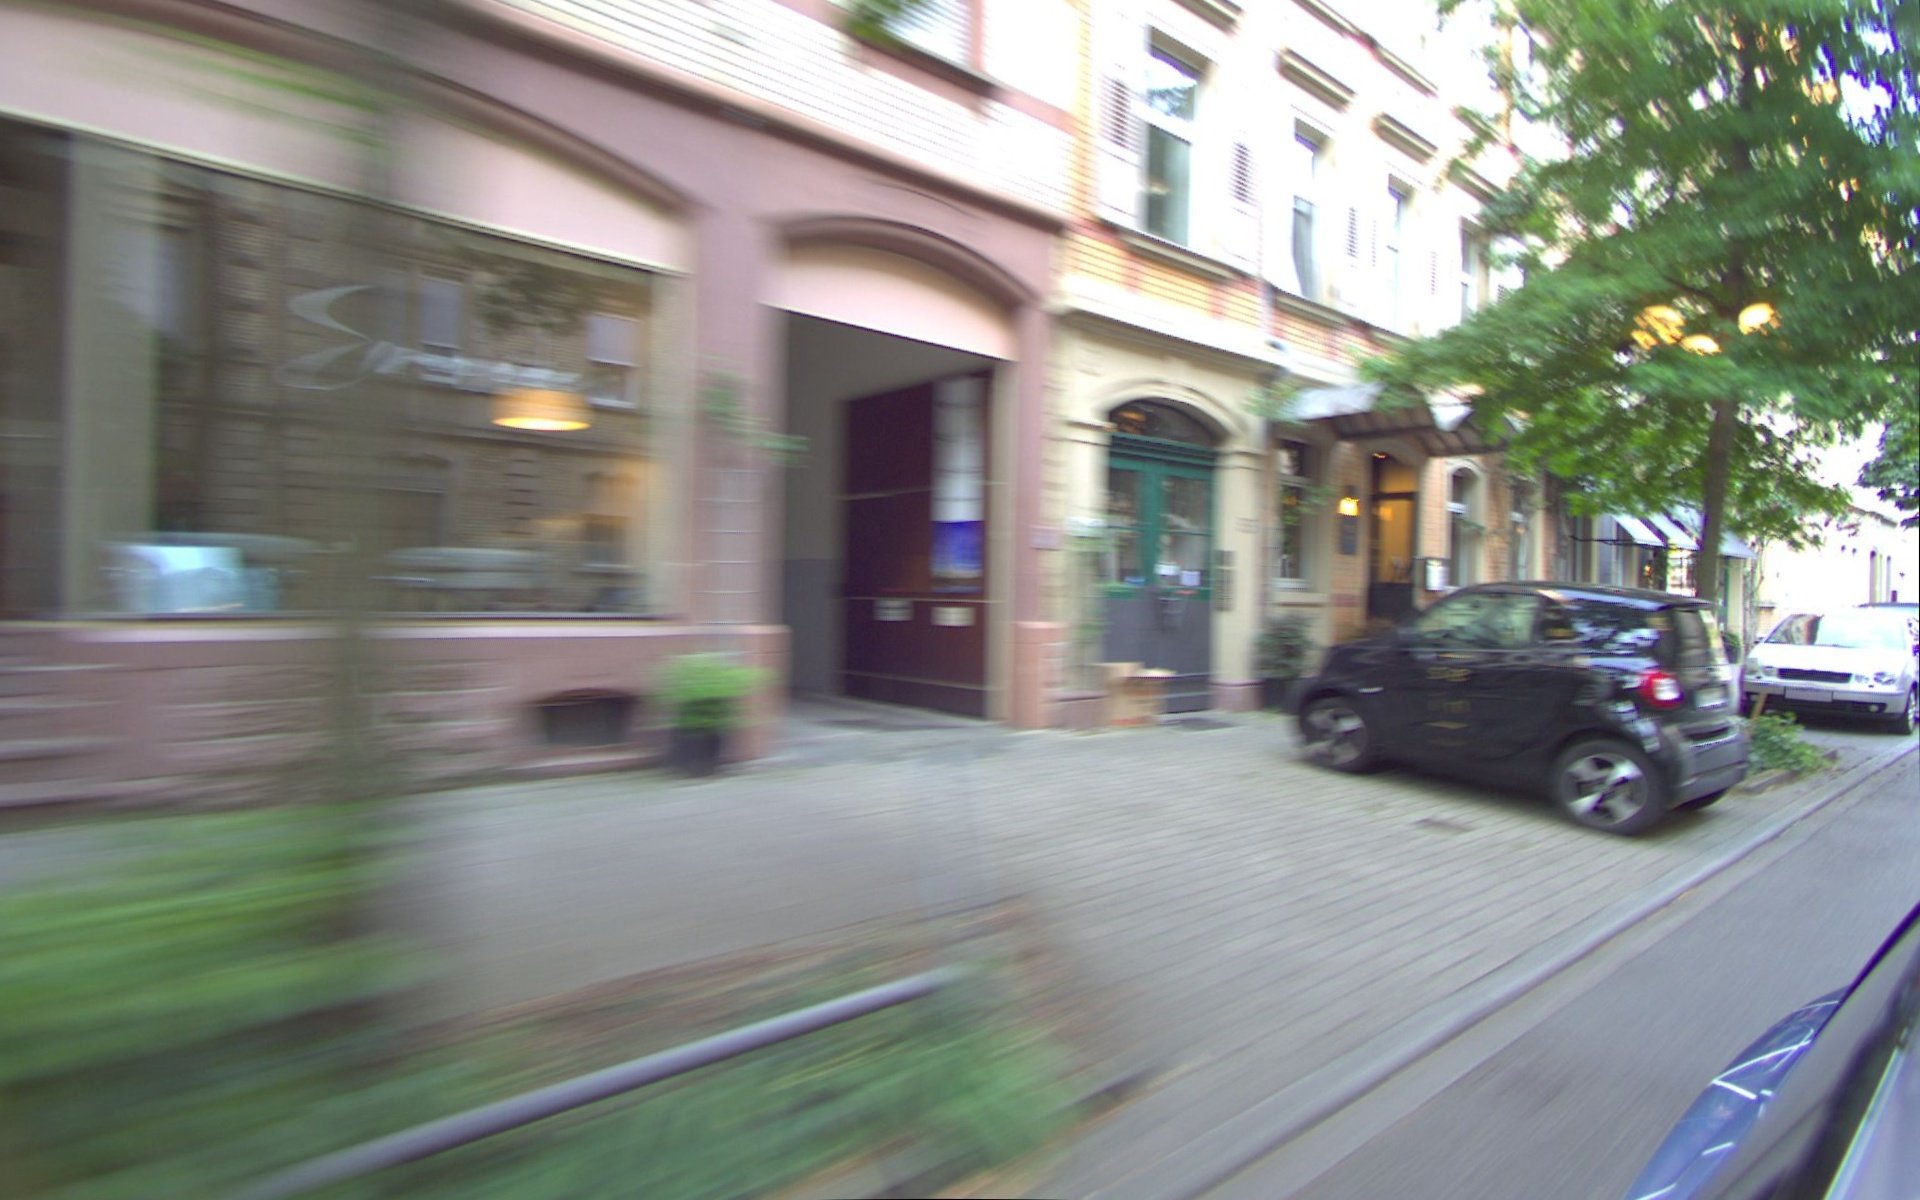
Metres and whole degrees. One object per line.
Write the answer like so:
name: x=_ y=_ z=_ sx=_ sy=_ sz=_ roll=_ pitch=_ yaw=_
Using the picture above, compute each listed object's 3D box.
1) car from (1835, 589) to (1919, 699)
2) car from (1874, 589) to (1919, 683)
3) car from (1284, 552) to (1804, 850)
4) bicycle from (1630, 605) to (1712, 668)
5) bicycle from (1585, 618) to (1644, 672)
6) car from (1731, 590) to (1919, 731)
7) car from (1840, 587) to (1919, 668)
car: x=14.887 y=0.641 z=15.703 sx=3.068 sy=1.580 sz=1.593 roll=0 pitch=1 yaw=-42
car: x=17.354 y=0.612 z=17.944 sx=2.869 sy=1.571 sz=1.466 roll=0 pitch=2 yaw=-43
car: x=4.161 y=0.533 z=7.465 sx=1.768 sy=1.618 sz=2.805 roll=0 pitch=4 yaw=-39
bicycle: x=13.173 y=0.648 z=18.732 sx=1.915 sy=1.048 sz=0.688 roll=0 pitch=3 yaw=-39
bicycle: x=11.251 y=0.753 z=17.380 sx=1.521 sy=0.870 sz=0.446 roll=0 pitch=0 yaw=-42
car: x=11.534 y=0.667 z=13.015 sx=4.031 sy=1.509 sz=1.737 roll=0 pitch=1 yaw=-40
car: x=20.184 y=0.593 z=20.953 sx=1.499 sy=1.592 sz=2.721 roll=1 pitch=3 yaw=-40
